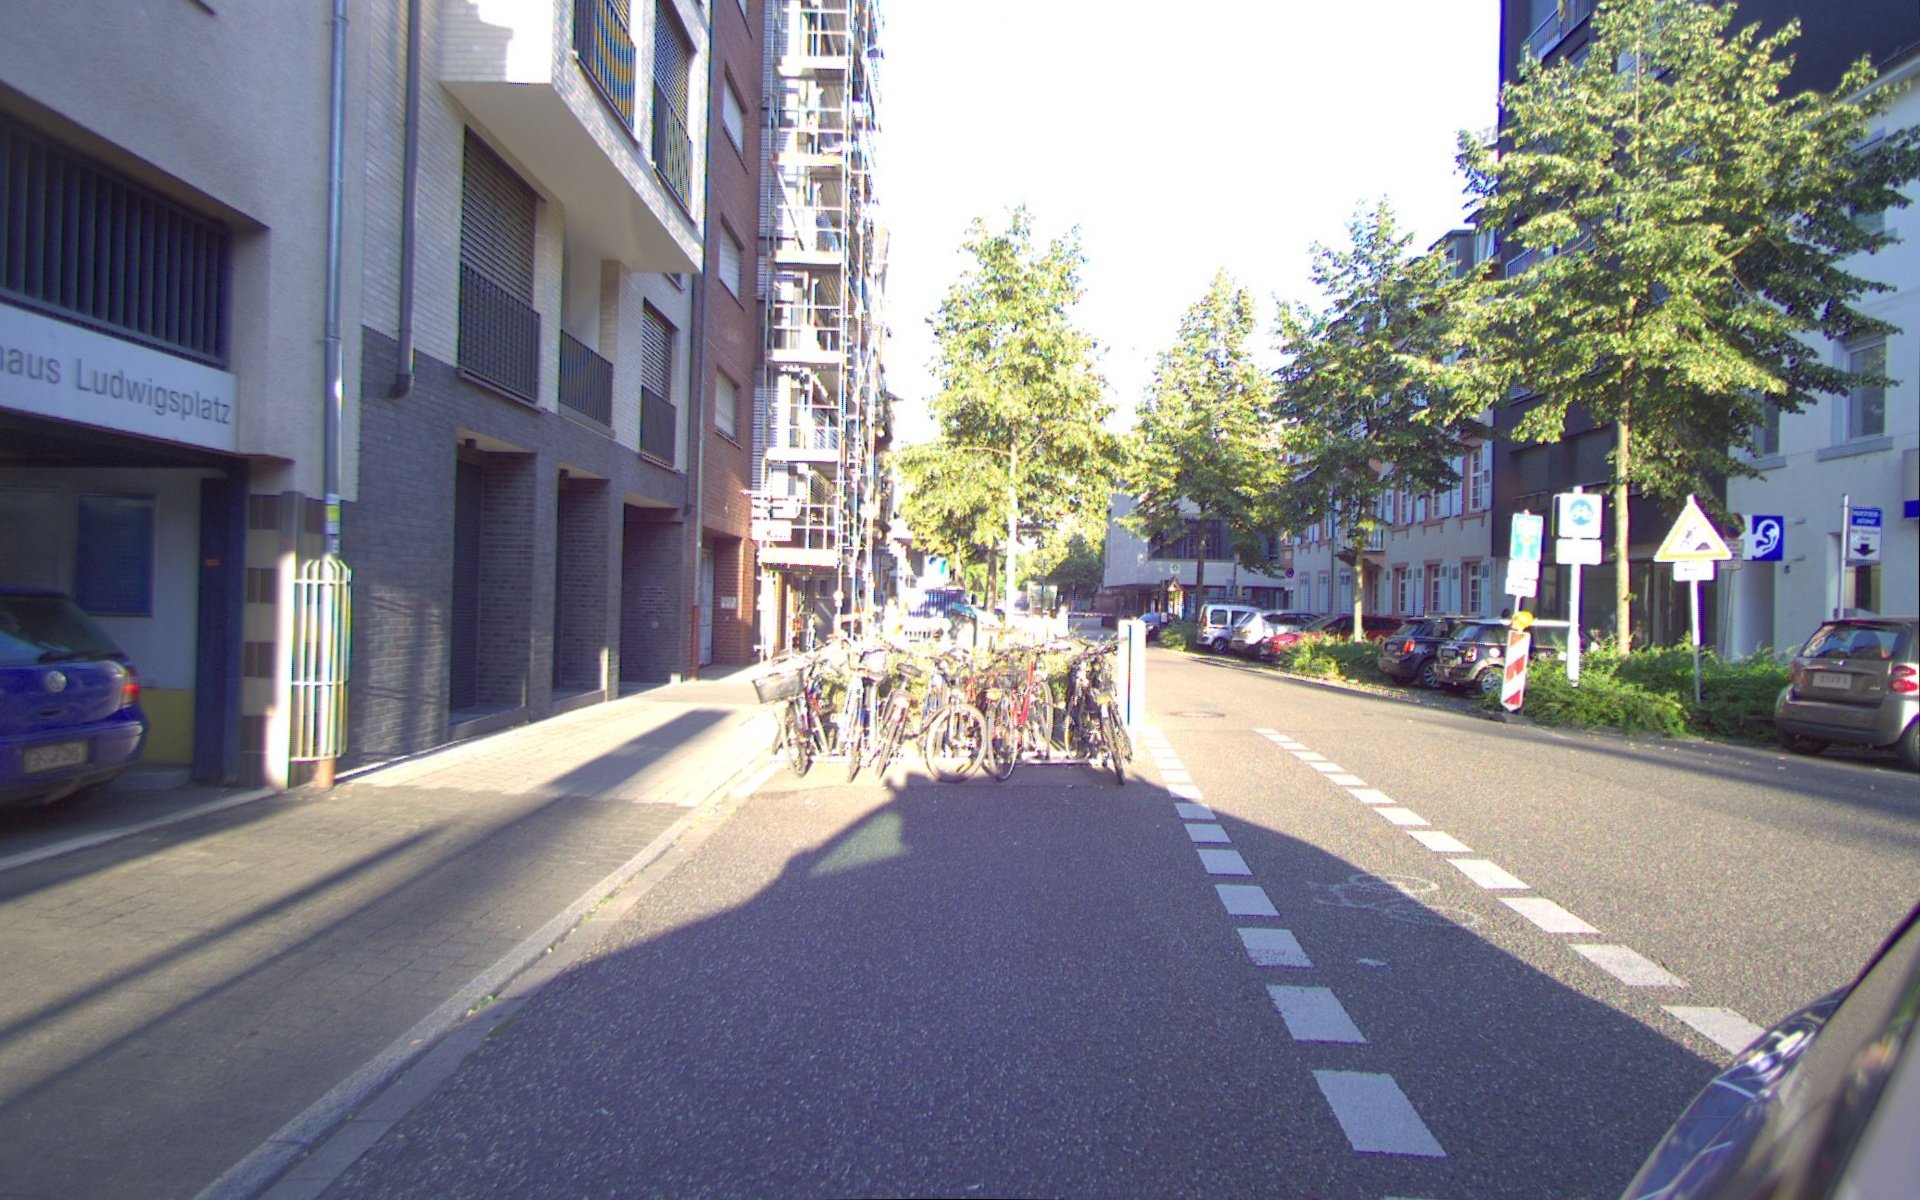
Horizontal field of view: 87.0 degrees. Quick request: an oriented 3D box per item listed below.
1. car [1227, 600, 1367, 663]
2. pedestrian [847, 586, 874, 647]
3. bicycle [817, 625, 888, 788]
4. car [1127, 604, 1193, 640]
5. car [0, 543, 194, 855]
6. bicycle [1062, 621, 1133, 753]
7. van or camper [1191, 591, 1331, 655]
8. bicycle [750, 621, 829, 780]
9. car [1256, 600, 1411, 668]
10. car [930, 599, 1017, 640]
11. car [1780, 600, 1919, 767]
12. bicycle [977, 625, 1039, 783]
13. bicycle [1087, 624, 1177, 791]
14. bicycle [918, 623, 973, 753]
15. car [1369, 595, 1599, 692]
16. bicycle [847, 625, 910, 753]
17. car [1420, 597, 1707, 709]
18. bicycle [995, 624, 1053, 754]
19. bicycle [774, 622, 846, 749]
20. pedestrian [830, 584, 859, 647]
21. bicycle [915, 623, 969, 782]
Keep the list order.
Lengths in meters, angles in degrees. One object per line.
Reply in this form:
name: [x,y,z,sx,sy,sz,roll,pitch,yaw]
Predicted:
car: [10.377,0.952,31.368,3.626,1.691,1.858,3,0,-1]
pedestrian: [-2.972,0.483,30.371,0.729,1.806,0.656,1,-1,0]
bicycle: [-0.882,0.836,8.537,0.380,1.204,1.551,2,0,1]
car: [9.751,1.095,49.087,1.846,1.588,3.651,3,0,34]
car: [-6.860,0.387,5.501,4.040,1.583,1.694,3,0,0]
bicycle: [1.374,0.836,10.320,0.499,1.193,1.551,2,0,1]
van or camper: [10.793,0.815,36.475,4.369,2.031,1.858,3,0,-1]
bicycle: [-1.414,0.797,8.575,0.381,1.198,1.405,2,0,1]
car: [10.558,0.946,28.804,3.626,1.691,1.858,3,0,-1]
car: [0.645,0.898,47.104,3.928,1.705,1.889,2,0,4]
car: [10.859,0.854,10.524,3.414,1.595,1.508,2,0,-1]
bicycle: [0.428,0.815,8.555,0.411,1.171,1.549,2,0,6]
bicycle: [1.418,0.843,8.545,0.489,1.236,1.551,2,0,1]
bicycle: [-0.123,0.837,10.210,0.479,1.164,1.551,2,0,1]
car: [10.537,0.843,20.550,3.626,1.691,1.858,3,0,-1]
bicycle: [-0.811,0.858,10.341,0.460,1.158,1.551,2,0,1]
car: [10.654,0.900,18.082,3.932,1.691,1.858,3,0,-1]
bicycle: [0.632,0.857,10.328,0.479,1.178,1.551,2,0,1]
bicycle: [-1.501,0.824,10.307,0.450,1.146,1.551,2,0,1]
pedestrian: [-3.405,0.453,29.854,0.730,1.806,0.656,1,-1,1]
bicycle: [-0.129,0.801,8.505,0.375,1.174,1.551,2,0,1]
